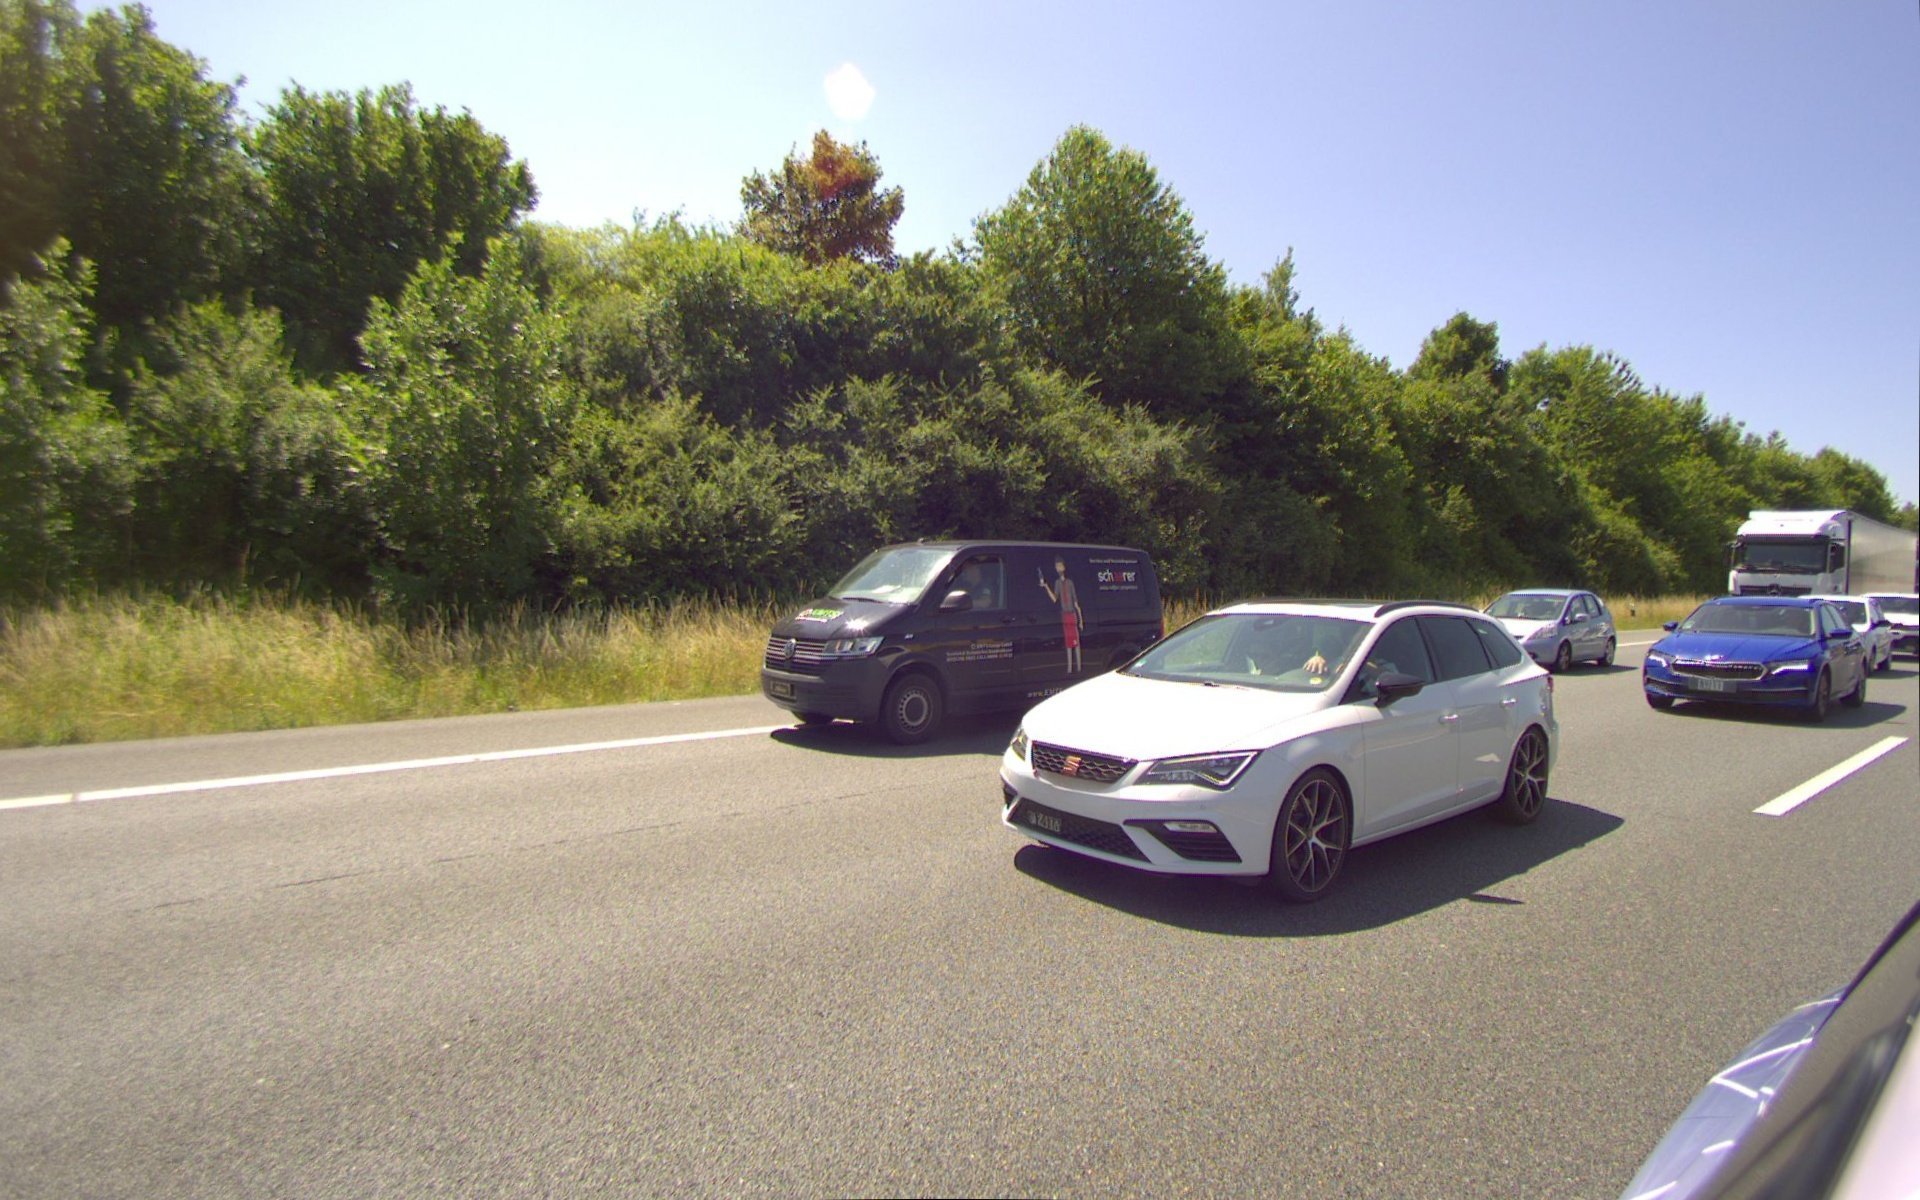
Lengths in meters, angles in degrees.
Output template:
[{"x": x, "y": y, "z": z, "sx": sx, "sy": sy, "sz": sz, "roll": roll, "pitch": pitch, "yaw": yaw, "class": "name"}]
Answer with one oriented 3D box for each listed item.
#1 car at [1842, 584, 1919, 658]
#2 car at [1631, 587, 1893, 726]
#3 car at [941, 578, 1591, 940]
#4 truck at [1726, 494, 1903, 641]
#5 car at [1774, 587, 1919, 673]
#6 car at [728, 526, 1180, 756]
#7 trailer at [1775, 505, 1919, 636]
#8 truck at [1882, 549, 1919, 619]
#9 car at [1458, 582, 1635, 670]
[{"x": 22.309, "y": 0.439, "z": 23.801, "sx": 3.816, "sy": 1.577, "sz": 1.748, "roll": -1, "pitch": 2, "yaw": -40, "class": "car"}, {"x": 10.551, "y": 0.593, "z": 13.190, "sx": 4.491, "sy": 1.434, "sz": 1.780, "roll": -1, "pitch": 3, "yaw": -40, "class": "car"}, {"x": 2.073, "y": 0.601, "z": 6.144, "sx": 4.237, "sy": 1.461, "sz": 1.751, "roll": -1, "pitch": 2, "yaw": -40, "class": "car"}, {"x": 27.806, "y": -0.977, "z": 32.764, "sx": 8.322, "sy": 4.209, "sz": 2.879, "roll": -1, "pitch": 1, "yaw": -39, "class": "truck"}, {"x": 17.409, "y": 0.515, "z": 19.822, "sx": 3.743, "sy": 1.451, "sz": 1.608, "roll": -1, "pitch": 3, "yaw": -41, "class": "car"}, {"x": 0.111, "y": 0.296, "z": 10.916, "sx": 4.770, "sy": 1.964, "sz": 1.918, "roll": -1, "pitch": 2, "yaw": -40, "class": "car"}, {"x": 33.477, "y": -1.018, "z": 37.371, "sx": 11.858, "sy": 4.209, "sz": 2.879, "roll": -1, "pitch": 1, "yaw": -39, "class": "trailer"}, {"x": 45.619, "y": -0.741, "z": 47.778, "sx": 5.573, "sy": 3.185, "sz": 2.299, "roll": -1, "pitch": 1, "yaw": -39, "class": "truck"}, {"x": 11.249, "y": 0.423, "z": 19.331, "sx": 3.852, "sy": 1.479, "sz": 1.666, "roll": 0, "pitch": 2, "yaw": -39, "class": "car"}]
